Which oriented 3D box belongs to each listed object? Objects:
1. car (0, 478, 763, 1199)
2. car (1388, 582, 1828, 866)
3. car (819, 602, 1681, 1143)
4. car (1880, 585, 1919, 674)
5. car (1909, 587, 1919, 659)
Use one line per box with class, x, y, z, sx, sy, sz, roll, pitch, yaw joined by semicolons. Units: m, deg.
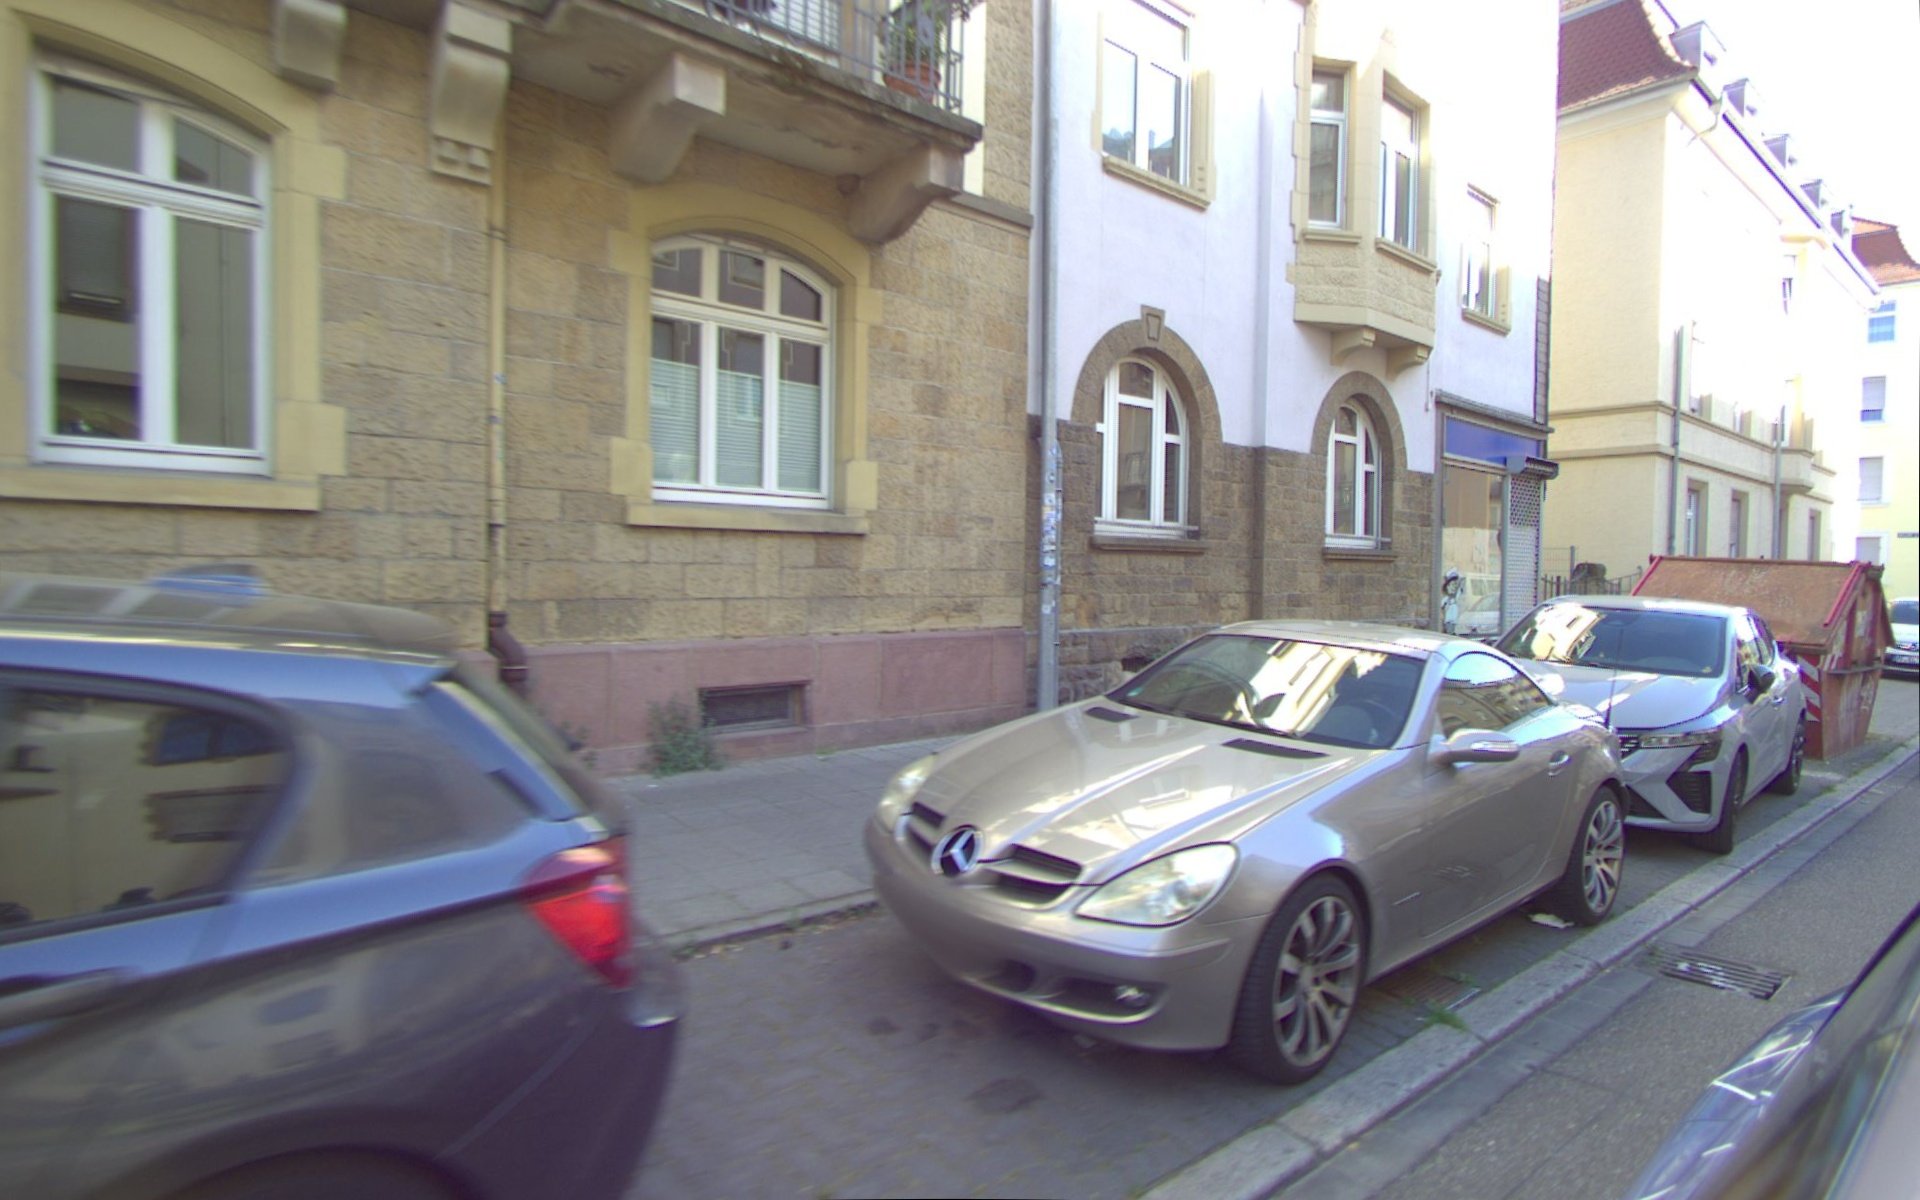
car;-2.491;0.549;1.127;4.184;1.460;1.655;0;3;-41
car;4.770;0.631;7.238;3.744;1.447;1.788;0;2;-43
car;1.499;0.691;4.424;3.870;1.270;1.697;0;3;-39
car;17.789;0.507;18.090;3.648;1.482;1.589;0;2;-42
car;21.736;0.503;21.625;4.022;1.482;1.656;0;2;-40
